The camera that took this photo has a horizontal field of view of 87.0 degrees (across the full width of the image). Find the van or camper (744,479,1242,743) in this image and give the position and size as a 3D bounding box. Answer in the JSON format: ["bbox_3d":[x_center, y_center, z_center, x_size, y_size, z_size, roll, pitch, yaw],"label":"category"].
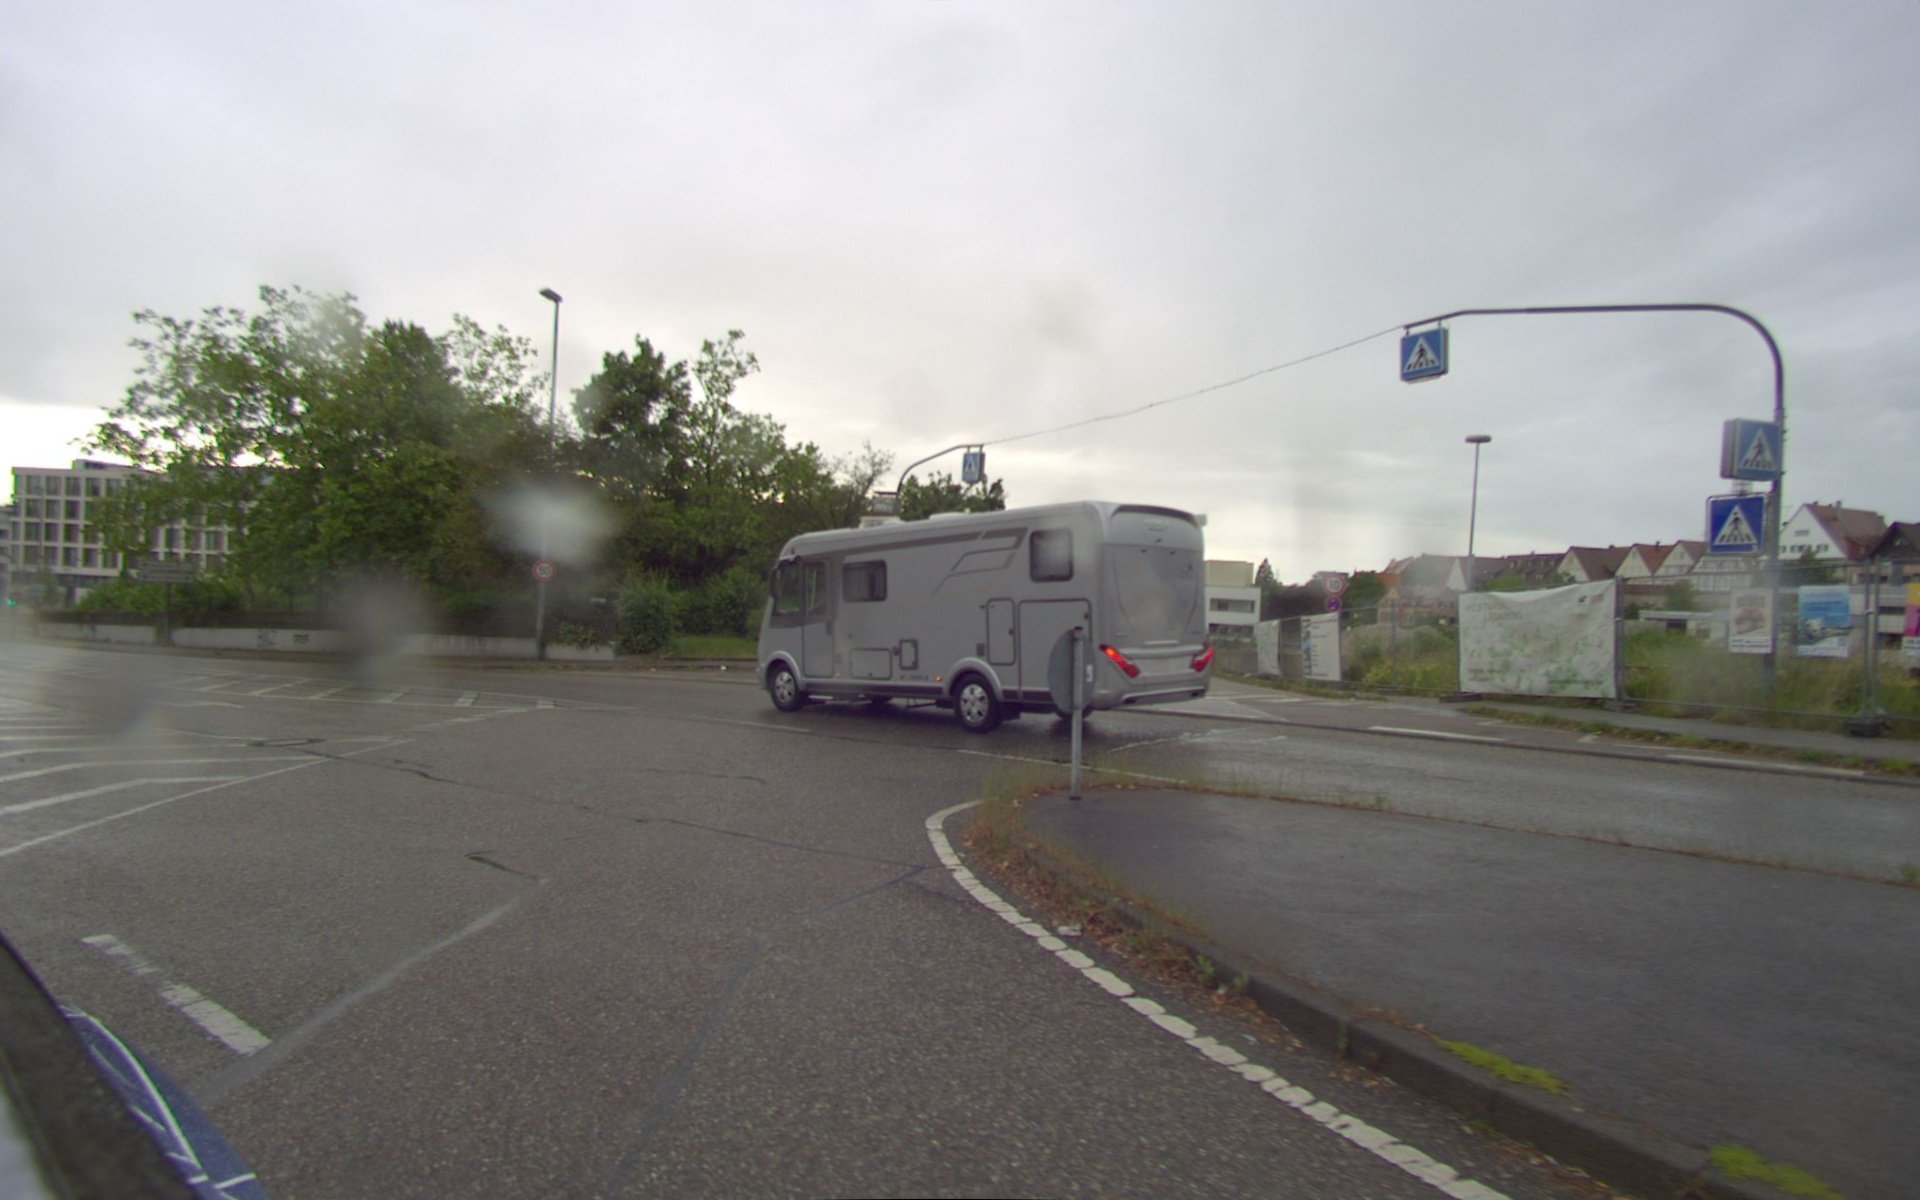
[{"bbox_3d":[0.037,0.134,13.605,2.340,2.676,7.024,1,-1,-45],"label":"van or camper"}]
